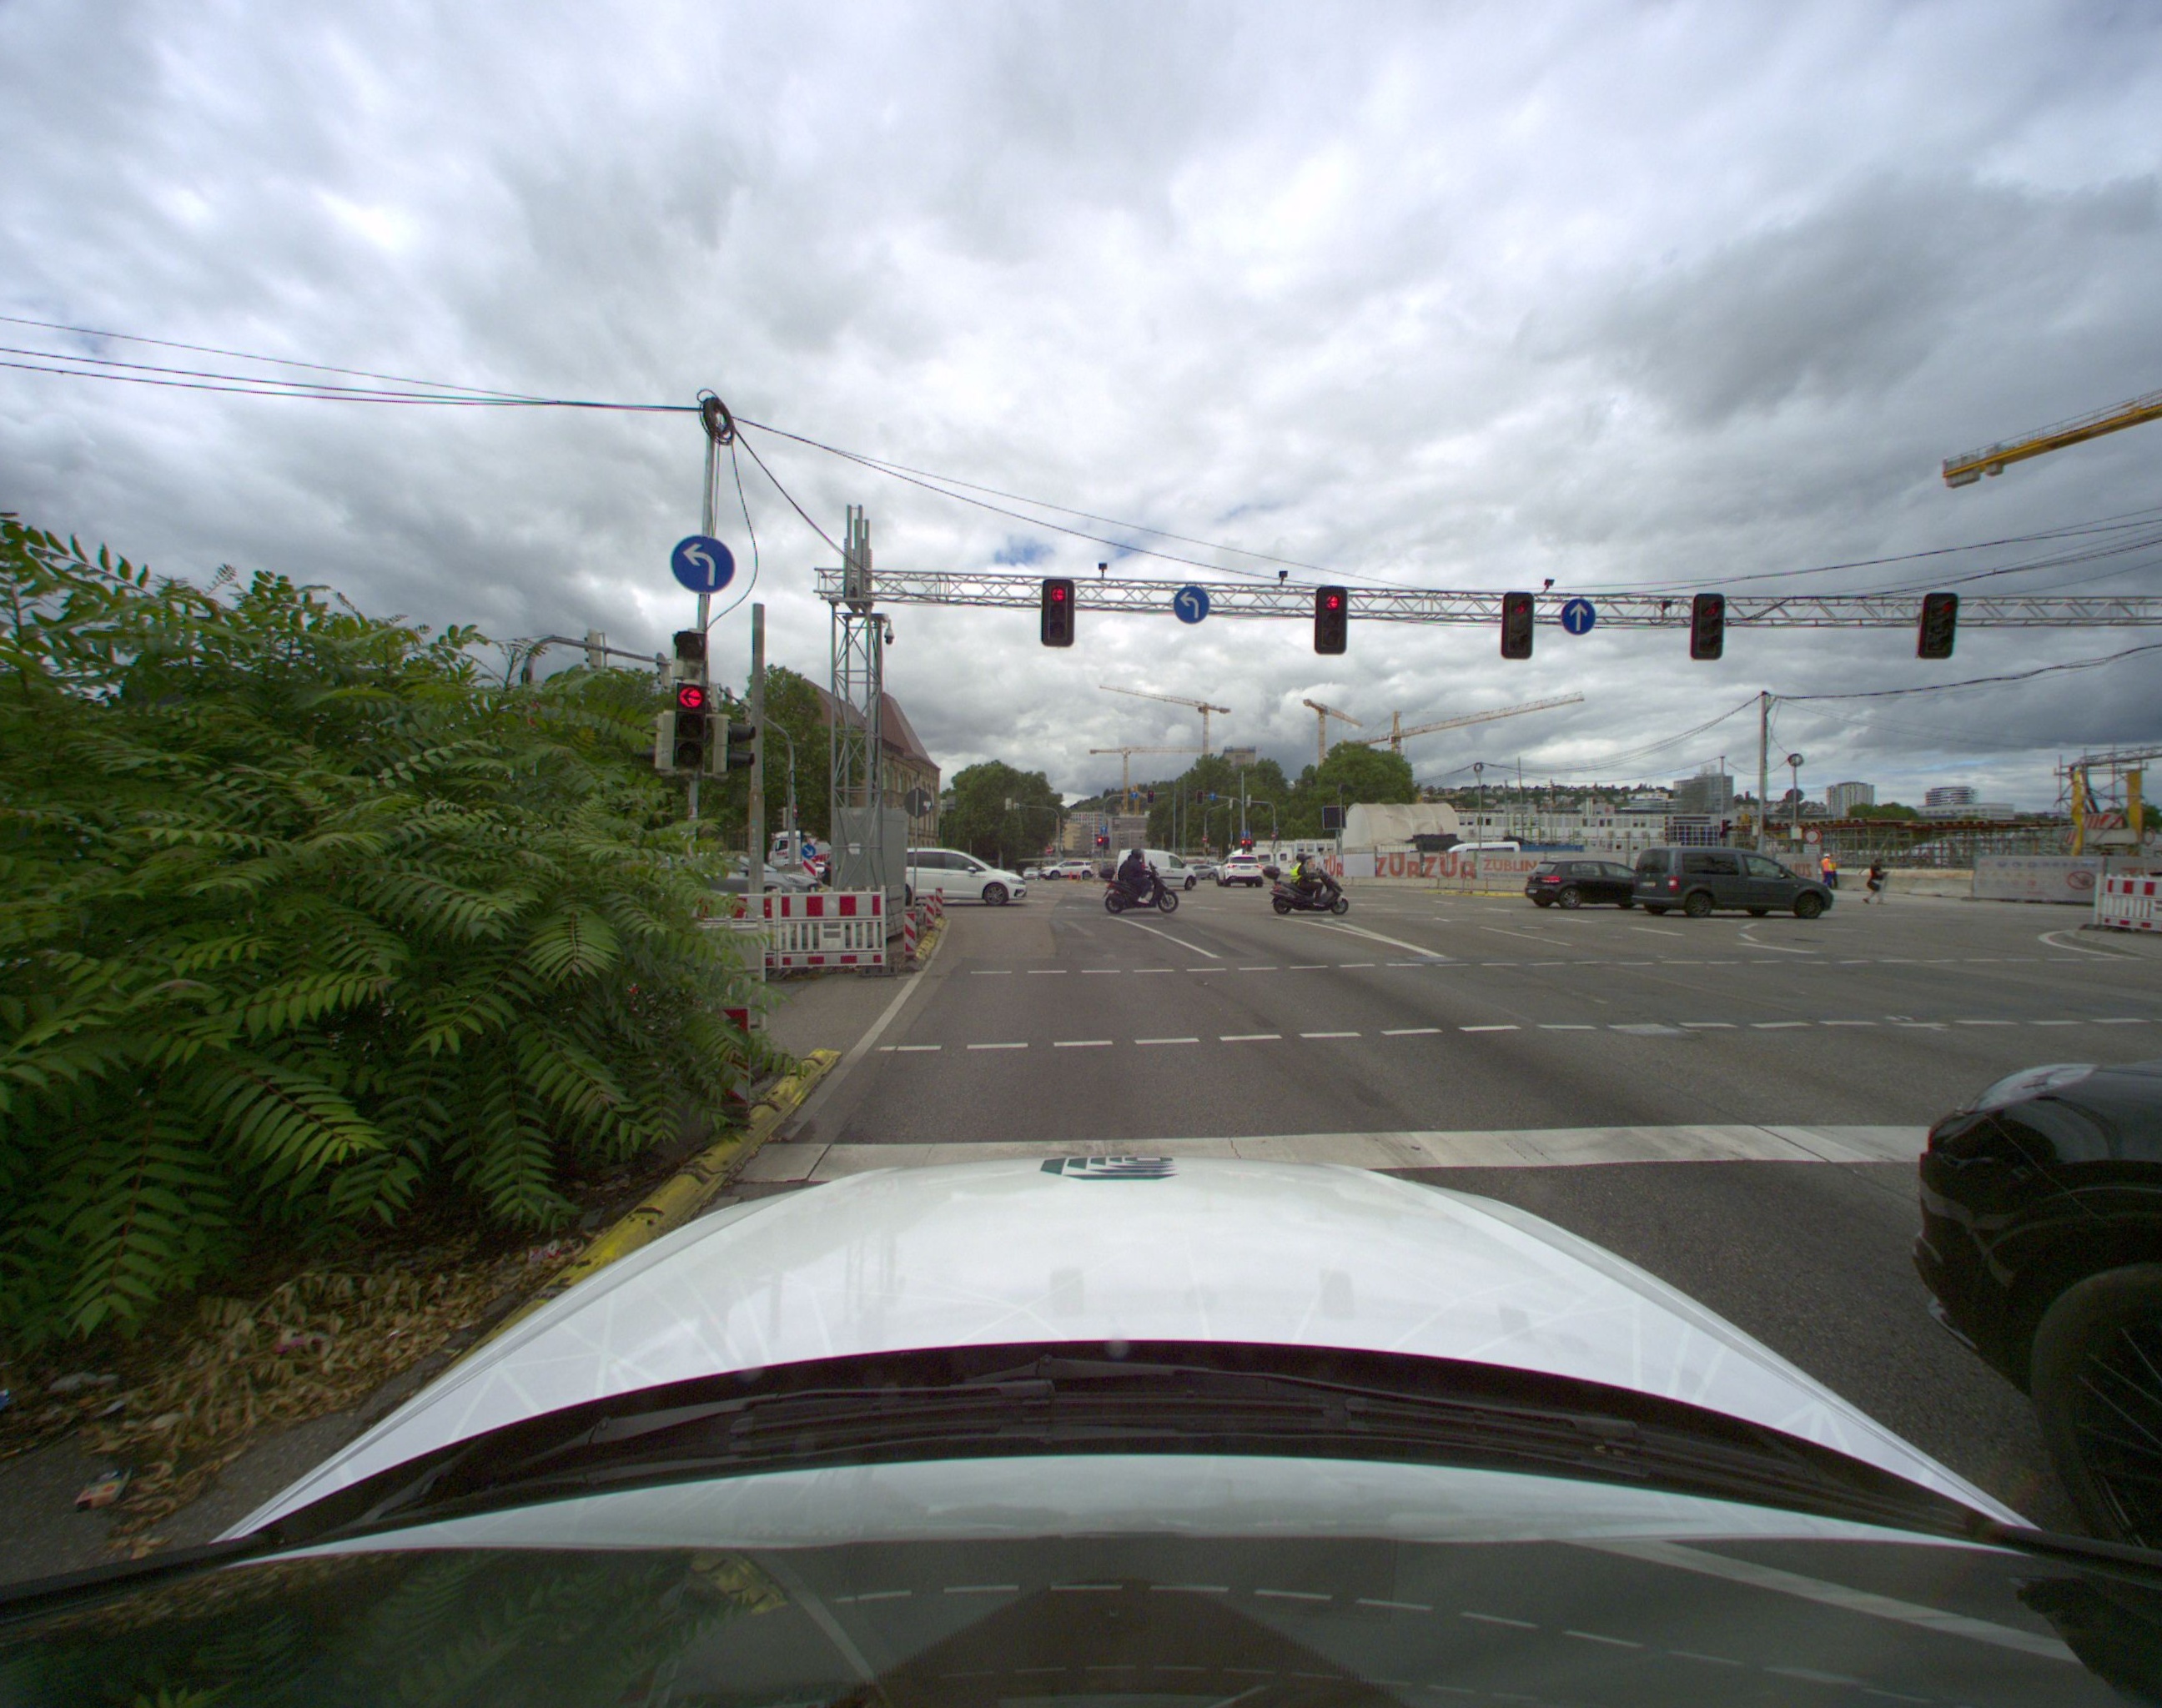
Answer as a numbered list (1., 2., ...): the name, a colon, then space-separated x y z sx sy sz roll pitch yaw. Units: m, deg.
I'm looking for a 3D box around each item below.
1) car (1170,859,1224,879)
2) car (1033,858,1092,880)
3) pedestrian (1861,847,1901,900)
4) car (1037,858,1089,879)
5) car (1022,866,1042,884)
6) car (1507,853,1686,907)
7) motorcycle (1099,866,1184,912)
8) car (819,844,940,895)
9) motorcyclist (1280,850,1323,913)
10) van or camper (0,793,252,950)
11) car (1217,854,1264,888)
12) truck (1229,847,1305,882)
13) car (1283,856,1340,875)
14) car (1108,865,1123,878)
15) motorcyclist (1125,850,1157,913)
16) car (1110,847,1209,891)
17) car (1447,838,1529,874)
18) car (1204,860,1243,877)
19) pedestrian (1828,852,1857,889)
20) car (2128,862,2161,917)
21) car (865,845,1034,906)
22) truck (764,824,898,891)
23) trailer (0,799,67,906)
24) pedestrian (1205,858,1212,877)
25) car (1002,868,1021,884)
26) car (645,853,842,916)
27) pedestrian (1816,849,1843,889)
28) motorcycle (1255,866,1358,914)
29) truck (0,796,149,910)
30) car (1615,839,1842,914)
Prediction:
1. car: 10.737 1.395 75.230 4.585 1.774 1.985 0 1 -23
2. car: -1.530 1.231 67.420 4.602 1.724 1.895 0 -1 -22
3. pedestrian: 30.901 0.733 31.452 1.052 2.014 1.022 0 -1 -42
4. car: -1.542 1.262 71.277 4.164 1.724 1.895 0 -1 -22
5. car: -5.375 2.291 89.749 1.987 1.838 3.998 0 -1 -1
6. car: 15.380 0.766 24.495 4.085 1.547 2.004 0 -1 7
7. motorcycle: 1.547 0.891 21.016 2.159 1.155 0.652 0 -1 2
8. car: -7.501 0.563 30.655 4.246 1.834 1.992 0 -1 -12
9. motorcyclist: 5.609 0.695 20.769 0.875 1.571 0.818 0 -1 2
10. van or camper: -19.135 0.296 15.369 6.019 2.610 2.168 0 0 15
11. car: 8.697 0.921 44.803 1.985 1.759 4.510 0 -1 4
12. truck: 17.022 0.924 74.485 6.607 3.146 2.350 0 -1 -22
13. car: 22.860 1.122 80.846 5.189 1.785 2.149 0 -1 -21
14. car: 5.084 2.614 119.926 1.987 1.838 3.999 0 -1 -1
15. motorcyclist: 1.547 0.692 21.016 0.783 1.597 0.652 0 -1 2
16. car: 3.597 0.635 36.657 1.847 1.833 4.749 -1 -1 45
17. car: 23.460 0.124 47.098 3.955 2.014 2.009 -1 -1 17
18. car: 15.558 1.540 88.972 3.958 1.838 2.008 -1 -1 14
19. pedestrian: 39.170 0.838 41.905 0.677 1.916 0.865 0 -1 -4
20. car: 31.115 0.945 21.129 4.452 1.466 2.010 -1 -1 20
21. car: -3.803 0.624 24.156 4.656 1.702 1.999 0 -1 -1
22. truck: -19.373 0.259 63.357 9.750 4.961 3.092 0 -1 -21
23. trailer: -31.024 -0.011 20.198 7.343 2.725 2.855 0 -1 -8
24. pedestrian: 12.700 1.365 81.410 0.583 1.840 0.604 0 -1 -2
25. car: -8.269 2.604 97.563 1.987 1.838 3.998 0 -1 -1
26. car: -8.681 0.757 21.273 4.281 1.540 1.999 0 -1 -1
27. pedestrian: 38.281 0.745 41.657 0.673 2.014 0.869 -1 -1 14
28. motorcycle: 5.729 0.906 20.759 2.413 1.155 0.818 0 -1 2
29. truck: -27.522 0.003 20.669 4.201 2.725 2.855 0 -1 -7
30. car: 16.529 0.563 20.980 4.254 1.805 2.000 0 -1 1
